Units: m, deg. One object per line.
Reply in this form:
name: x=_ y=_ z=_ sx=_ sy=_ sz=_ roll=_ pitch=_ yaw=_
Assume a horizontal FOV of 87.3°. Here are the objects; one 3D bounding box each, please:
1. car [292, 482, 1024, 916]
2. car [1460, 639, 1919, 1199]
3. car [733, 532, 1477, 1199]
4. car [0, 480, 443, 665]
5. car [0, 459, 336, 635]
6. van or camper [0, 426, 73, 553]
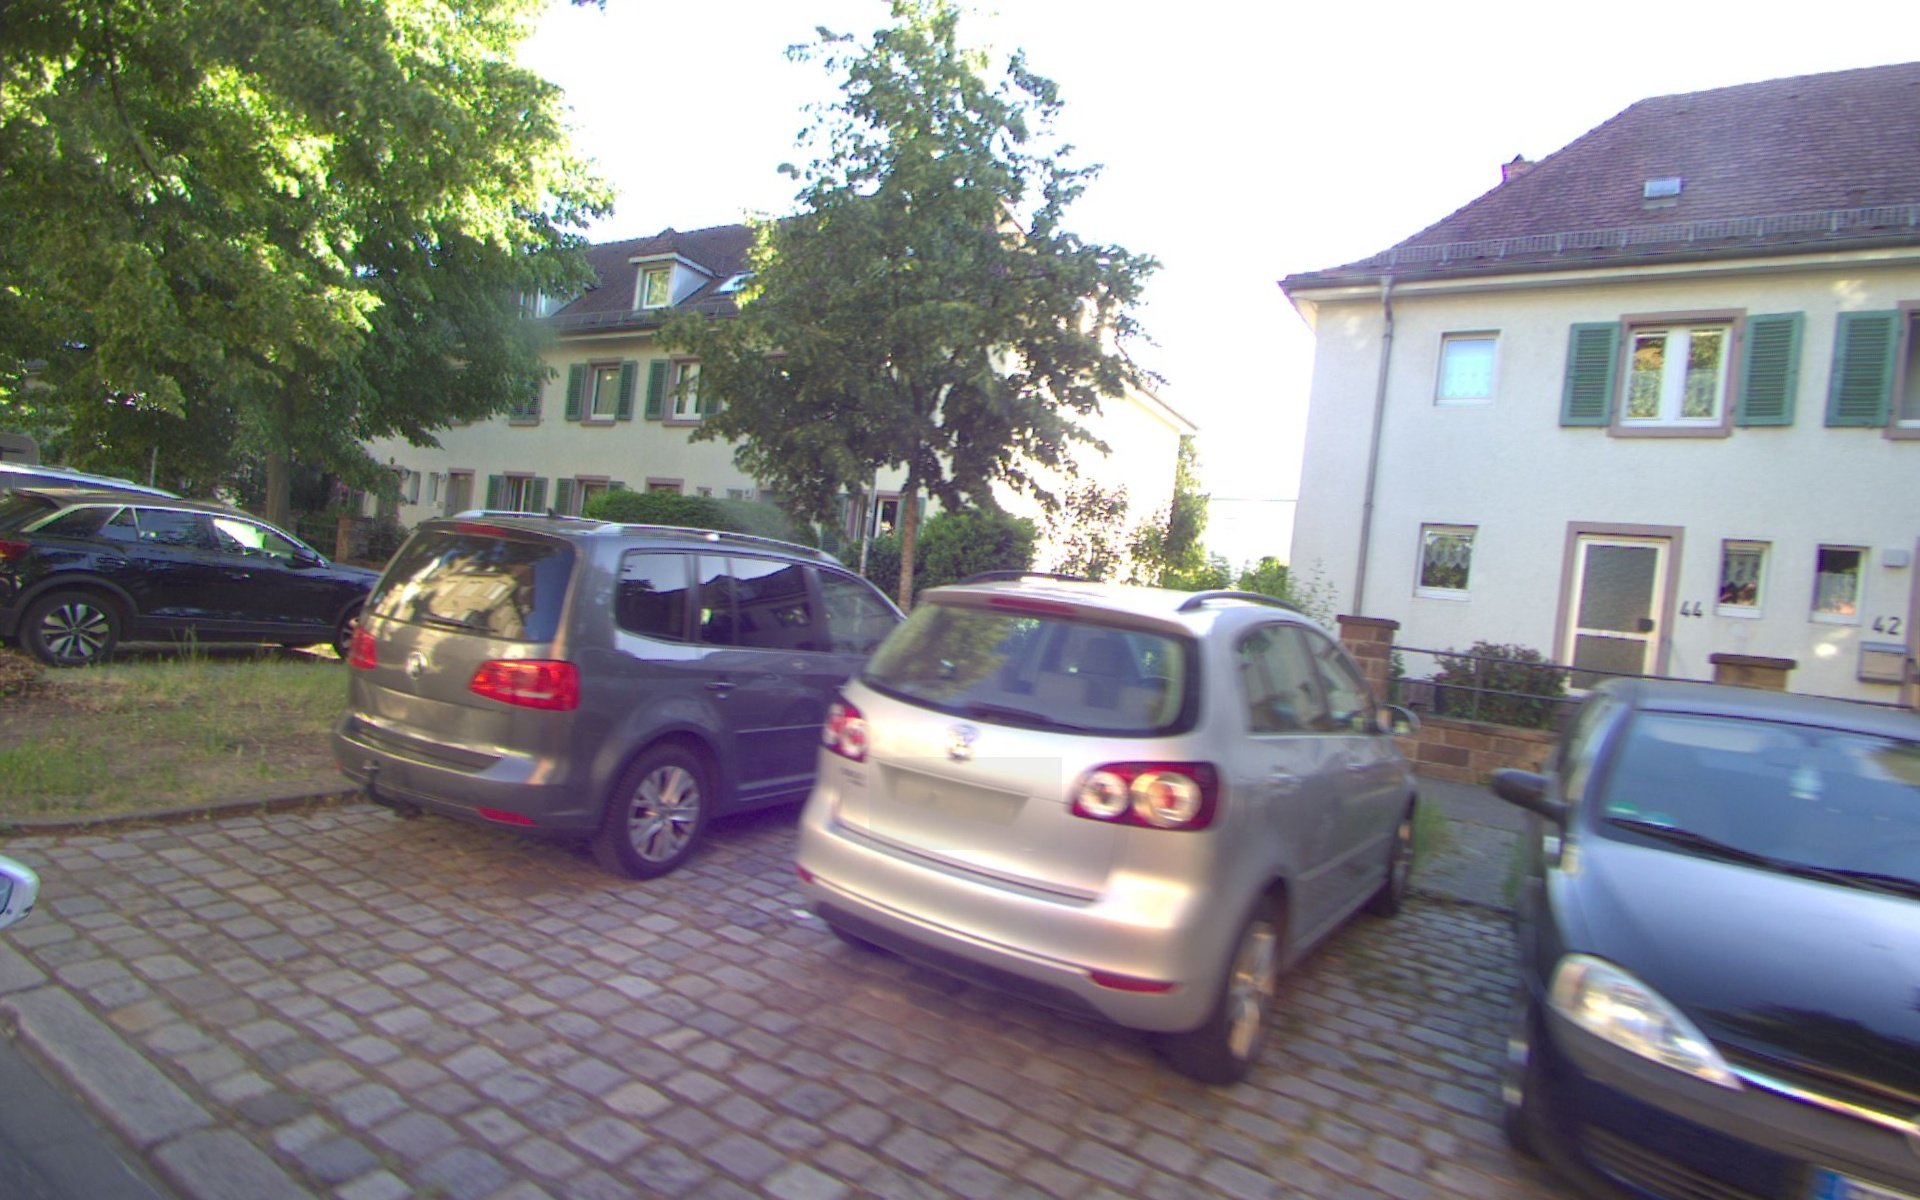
car: x=-1.346 y=0.386 z=6.423 sx=1.780 sy=1.655 sz=4.544 roll=6 pitch=2 yaw=26
car: x=2.901 y=0.983 z=3.610 sx=1.562 sy=1.473 sz=3.722 roll=7 pitch=2 yaw=31
car: x=1.147 y=0.727 z=4.818 sx=1.663 sy=1.655 sz=4.269 roll=7 pitch=2 yaw=35
car: x=-7.695 y=-0.255 z=10.146 sx=1.666 sy=1.497 sz=4.067 roll=8 pitch=3 yaw=32
car: x=-10.007 y=-0.604 z=11.376 sx=1.803 sy=1.732 sz=4.620 roll=7 pitch=1 yaw=33
van or camper: x=-23.313 y=-2.627 z=20.717 sx=2.425 sy=2.682 sz=7.143 roll=7 pitch=2 yaw=33
